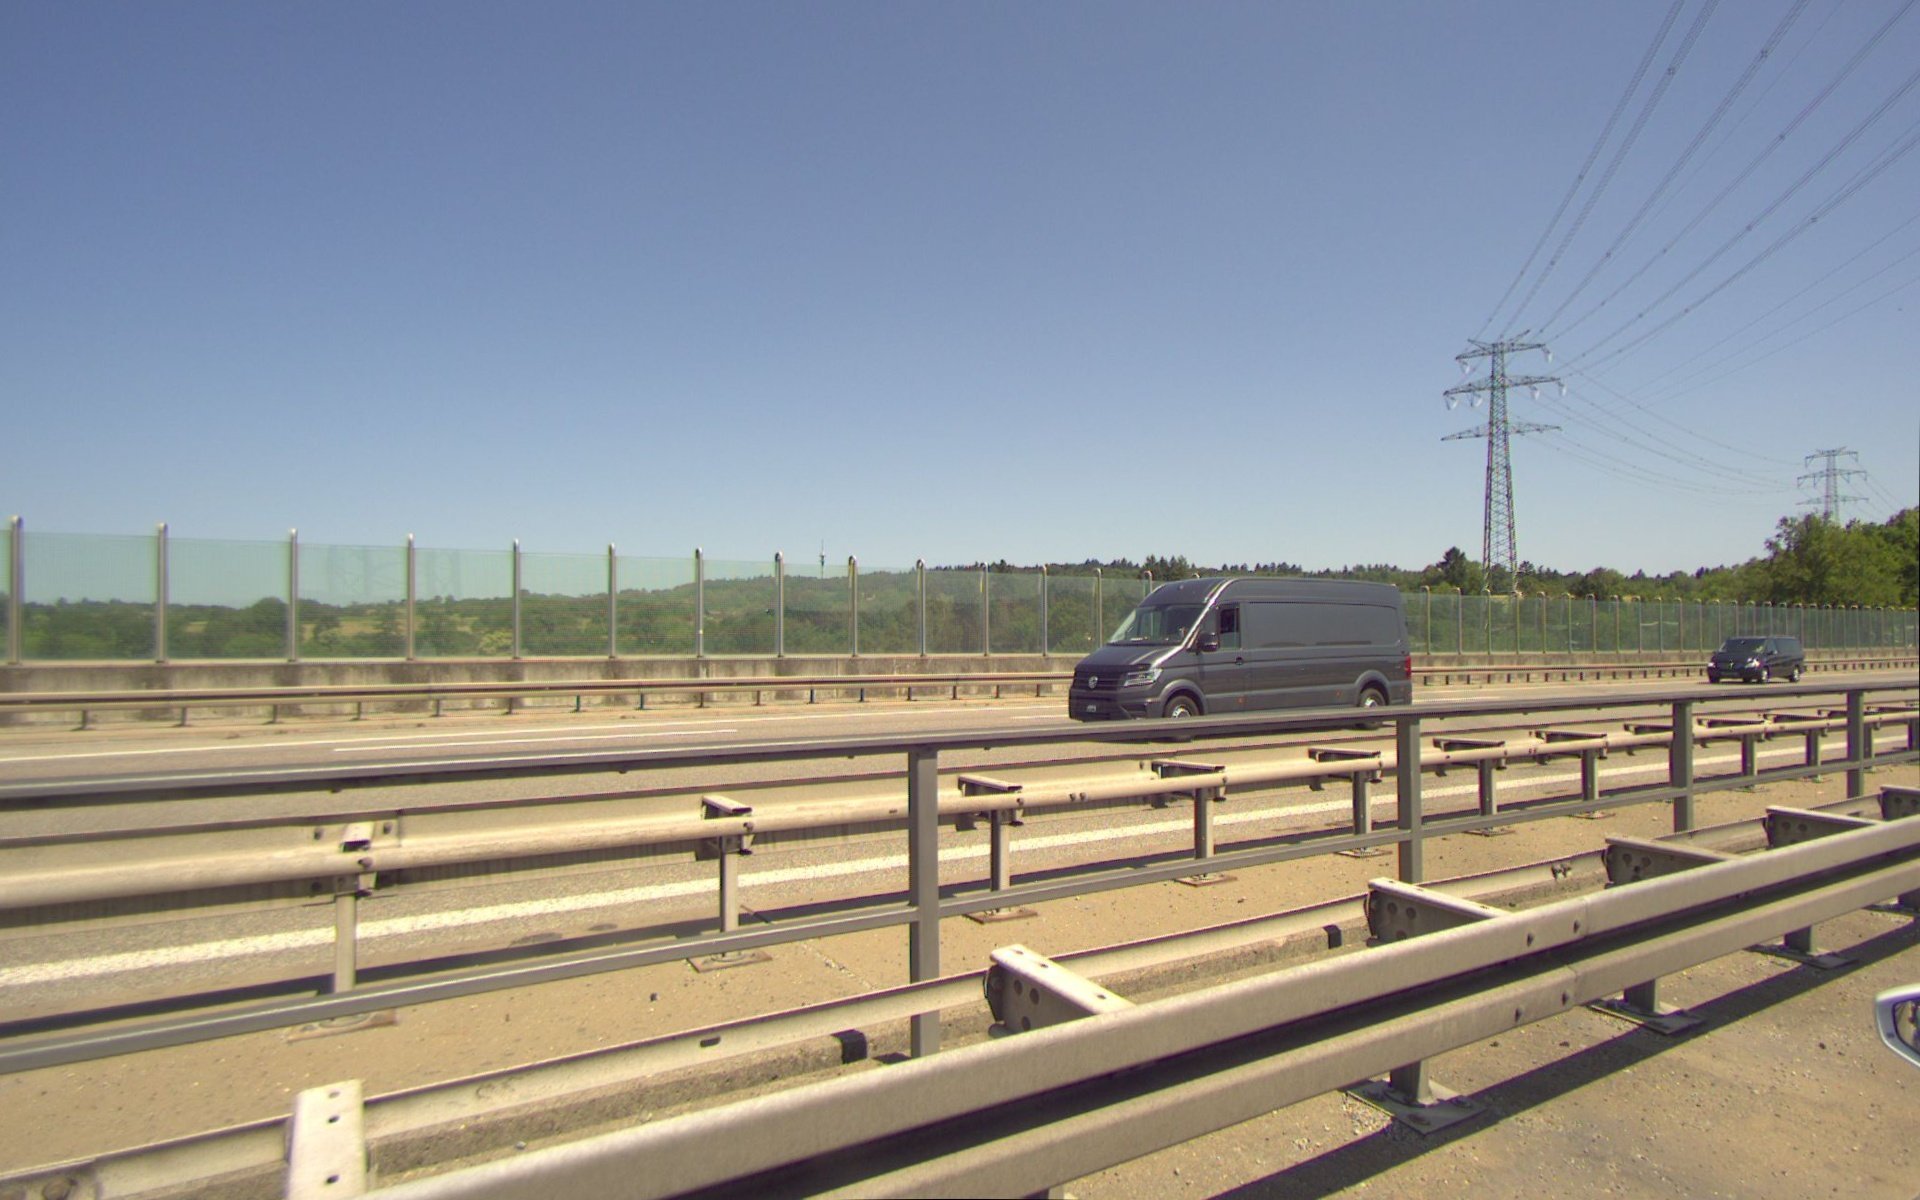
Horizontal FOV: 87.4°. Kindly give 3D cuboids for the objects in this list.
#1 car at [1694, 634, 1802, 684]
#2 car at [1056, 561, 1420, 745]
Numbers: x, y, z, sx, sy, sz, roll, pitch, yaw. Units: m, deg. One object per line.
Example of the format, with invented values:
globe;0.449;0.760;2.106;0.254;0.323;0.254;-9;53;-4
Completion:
car;32.198;2.395;41.005;4.896;1.930;1.947;2;-3;-32
car;4.816;0.892;16.861;6.577;2.616;1.983;2;-4;-32
